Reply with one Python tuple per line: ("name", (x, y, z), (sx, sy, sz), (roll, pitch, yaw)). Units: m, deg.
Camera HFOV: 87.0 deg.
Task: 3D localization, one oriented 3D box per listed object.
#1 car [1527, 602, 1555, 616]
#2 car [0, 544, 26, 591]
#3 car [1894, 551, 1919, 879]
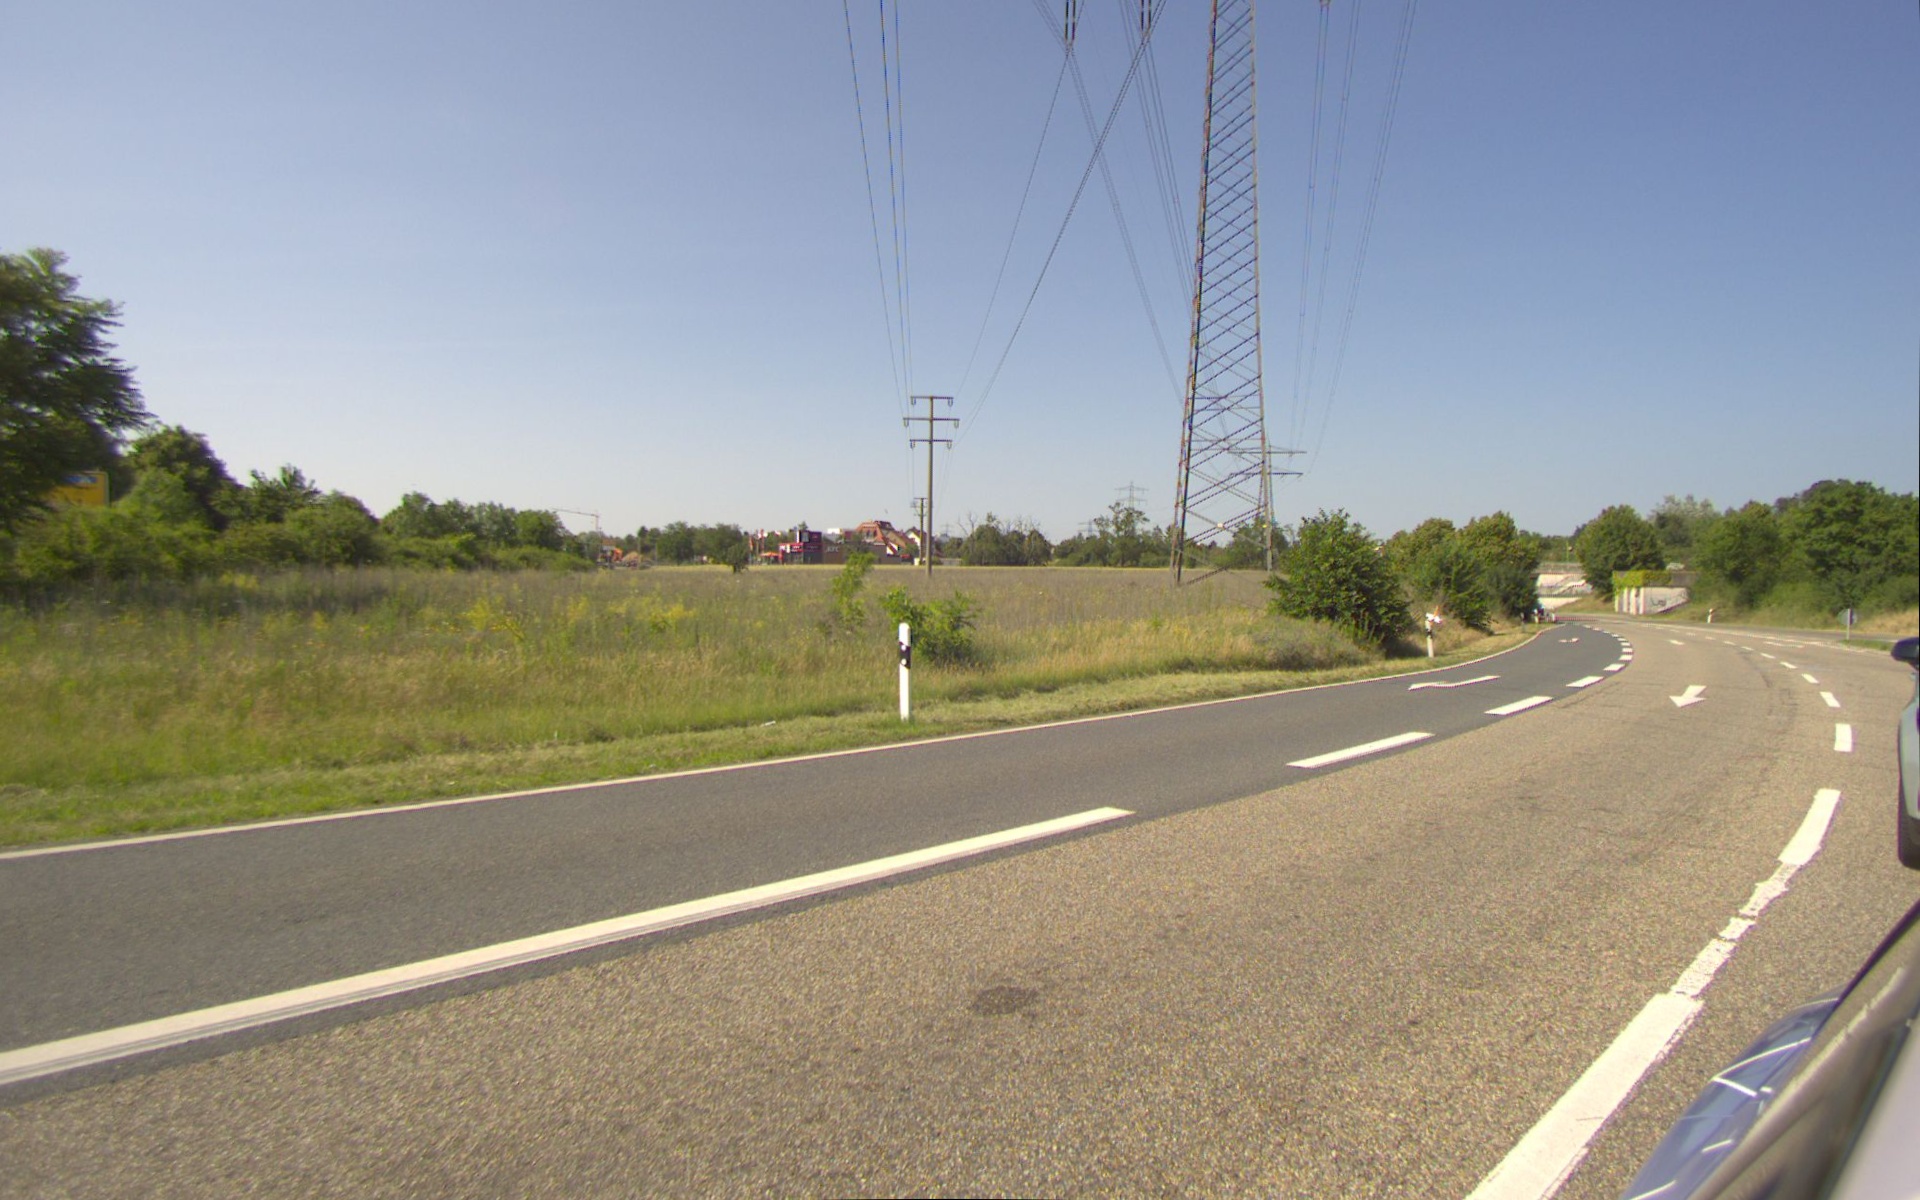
("car", (58.084, 0.905, 101.190), (1.876, 1.369, 3.510), (-1, 0, 21))
("car", (-51.470, -1.734, 53.411), (1.431, 2.467, 3.914), (0, 0, -12))
("car", (6.688, 0.590, 5.597), (3.583, 1.640, 1.858), (0, 0, -41))
